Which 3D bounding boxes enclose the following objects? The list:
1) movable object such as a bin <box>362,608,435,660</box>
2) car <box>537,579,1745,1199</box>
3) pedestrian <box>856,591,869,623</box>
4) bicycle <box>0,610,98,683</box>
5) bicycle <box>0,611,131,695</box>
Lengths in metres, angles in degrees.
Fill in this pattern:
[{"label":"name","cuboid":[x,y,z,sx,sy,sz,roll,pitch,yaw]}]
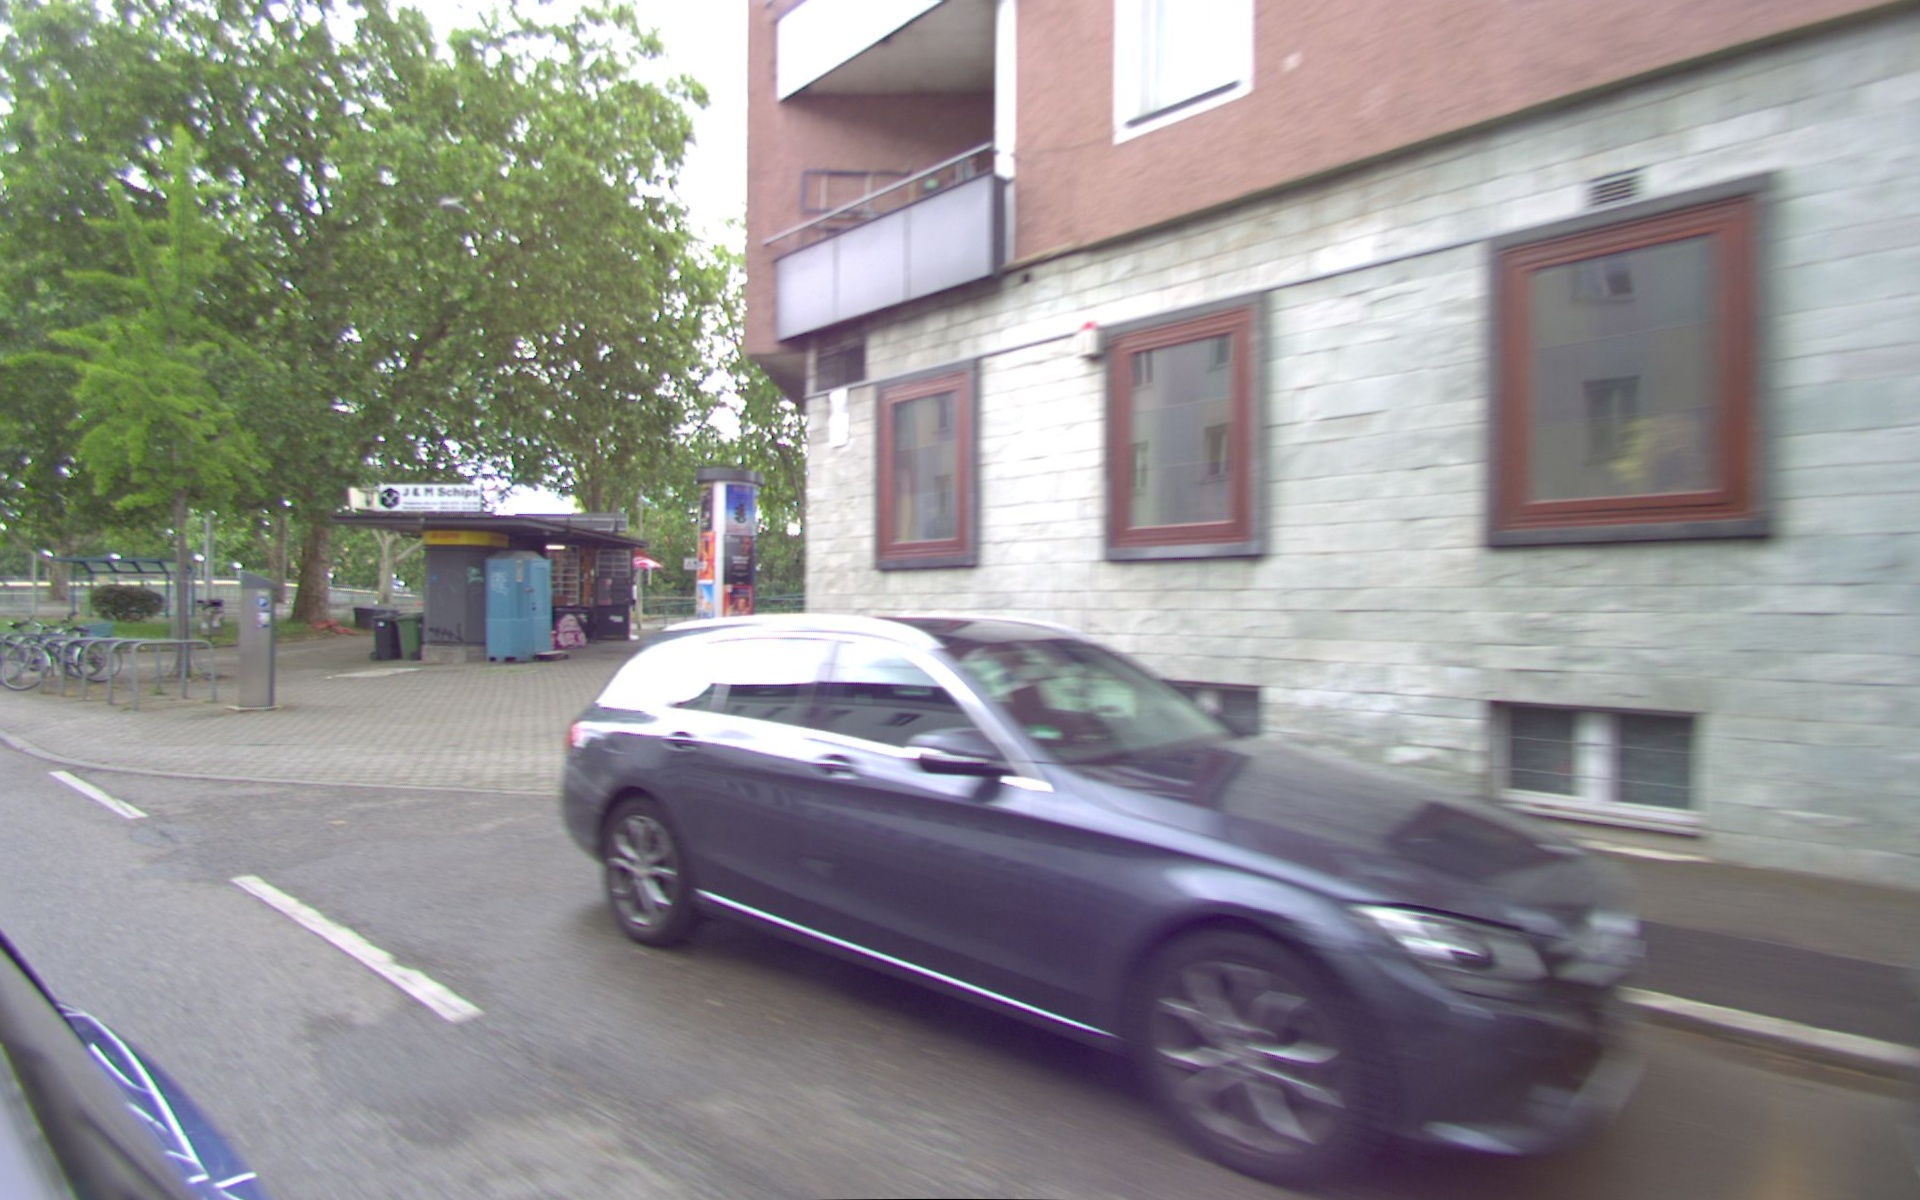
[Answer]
[{"label":"movable object such as a bin","cuboid":[-11.399,0.689,20.578,1.064,0.971,0.673,-2,3,1]},{"label":"car","cuboid":[0.263,0.691,4.125,4.581,1.466,1.810,0,0,41]},{"label":"pedestrian","cuboid":[-5.055,0.363,52.583,0.525,1.634,0.669,0,3,-20]},{"label":"bicycle","cuboid":[-15.648,0.772,16.877,0.577,1.122,1.850,0,2,40]},{"label":"bicycle","cuboid":[-14.497,0.812,16.173,0.719,1.185,1.796,0,2,19]}]
